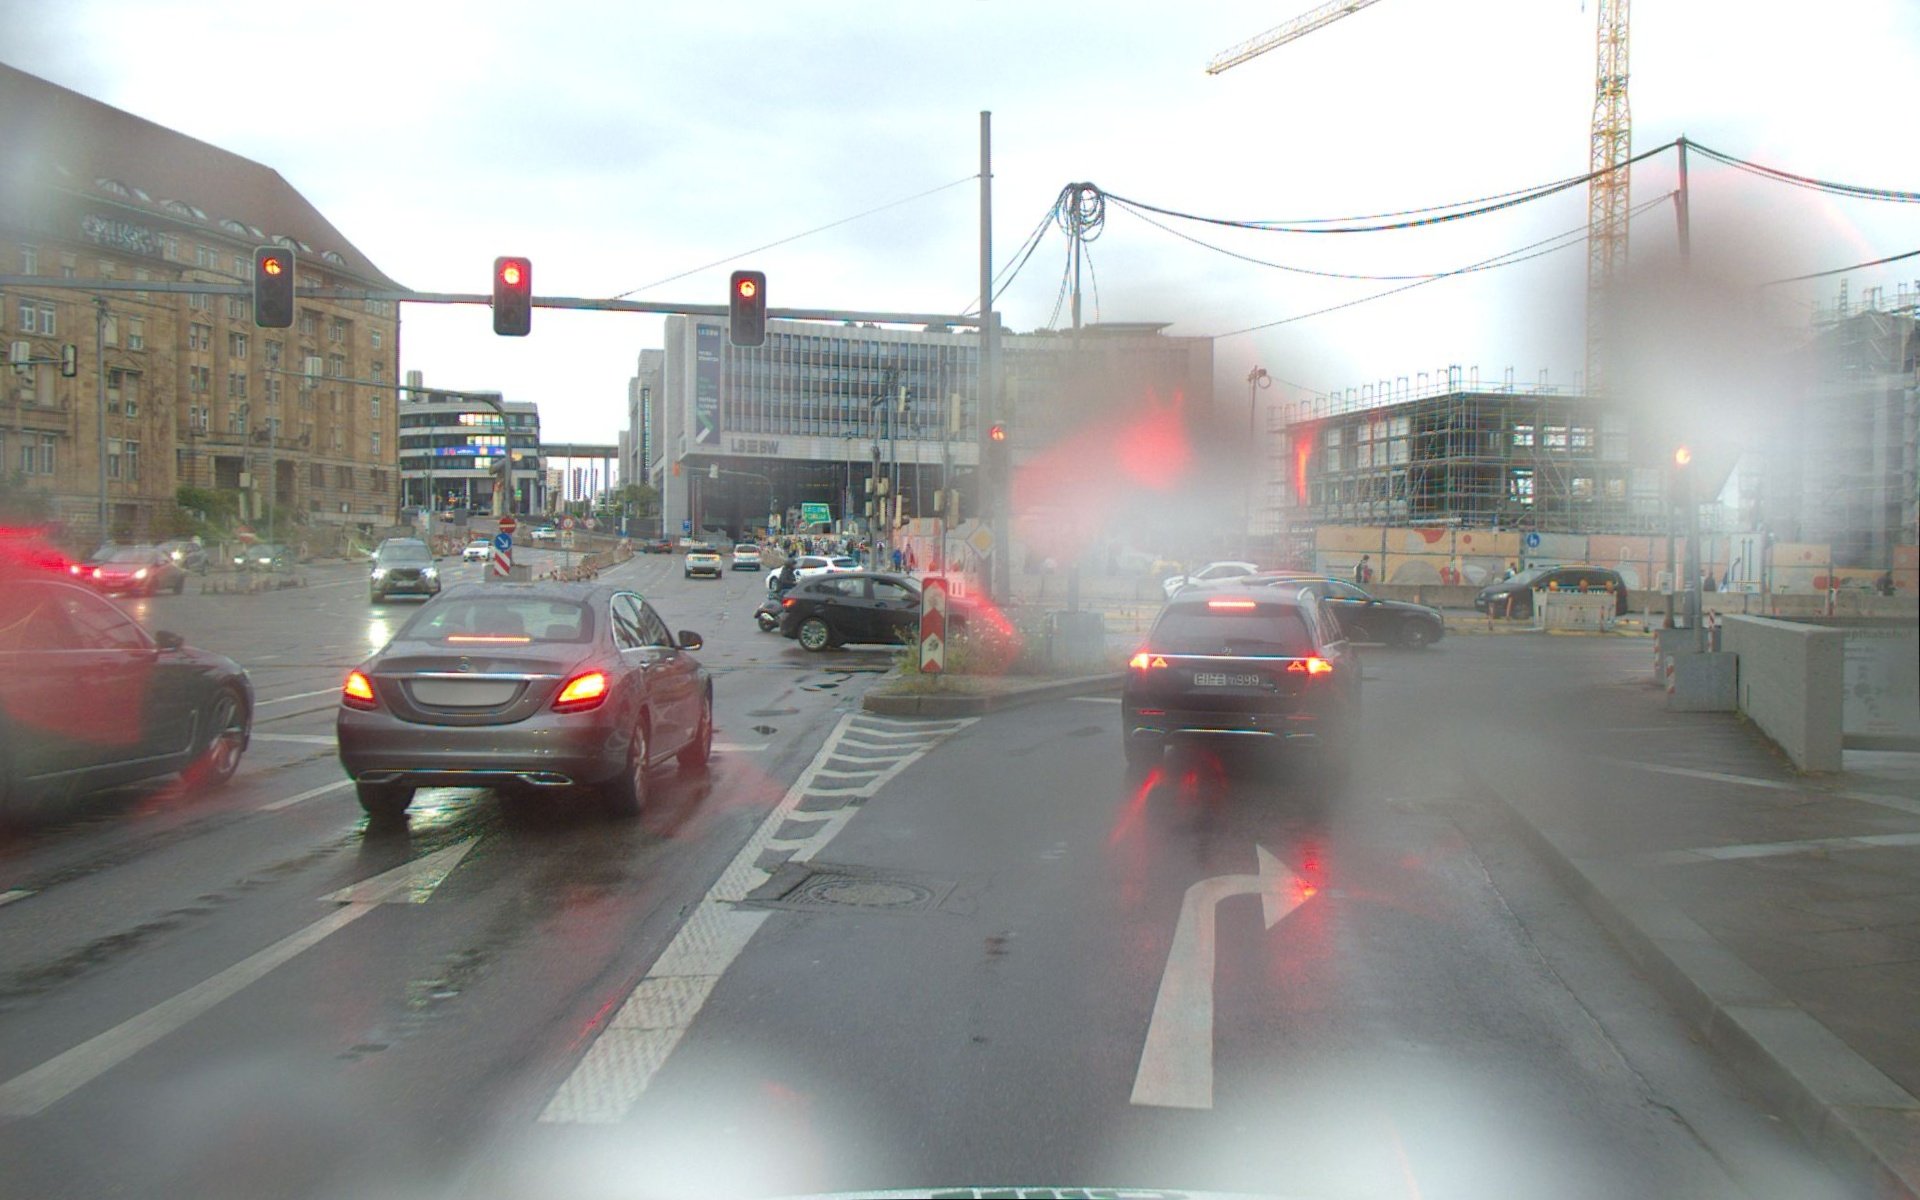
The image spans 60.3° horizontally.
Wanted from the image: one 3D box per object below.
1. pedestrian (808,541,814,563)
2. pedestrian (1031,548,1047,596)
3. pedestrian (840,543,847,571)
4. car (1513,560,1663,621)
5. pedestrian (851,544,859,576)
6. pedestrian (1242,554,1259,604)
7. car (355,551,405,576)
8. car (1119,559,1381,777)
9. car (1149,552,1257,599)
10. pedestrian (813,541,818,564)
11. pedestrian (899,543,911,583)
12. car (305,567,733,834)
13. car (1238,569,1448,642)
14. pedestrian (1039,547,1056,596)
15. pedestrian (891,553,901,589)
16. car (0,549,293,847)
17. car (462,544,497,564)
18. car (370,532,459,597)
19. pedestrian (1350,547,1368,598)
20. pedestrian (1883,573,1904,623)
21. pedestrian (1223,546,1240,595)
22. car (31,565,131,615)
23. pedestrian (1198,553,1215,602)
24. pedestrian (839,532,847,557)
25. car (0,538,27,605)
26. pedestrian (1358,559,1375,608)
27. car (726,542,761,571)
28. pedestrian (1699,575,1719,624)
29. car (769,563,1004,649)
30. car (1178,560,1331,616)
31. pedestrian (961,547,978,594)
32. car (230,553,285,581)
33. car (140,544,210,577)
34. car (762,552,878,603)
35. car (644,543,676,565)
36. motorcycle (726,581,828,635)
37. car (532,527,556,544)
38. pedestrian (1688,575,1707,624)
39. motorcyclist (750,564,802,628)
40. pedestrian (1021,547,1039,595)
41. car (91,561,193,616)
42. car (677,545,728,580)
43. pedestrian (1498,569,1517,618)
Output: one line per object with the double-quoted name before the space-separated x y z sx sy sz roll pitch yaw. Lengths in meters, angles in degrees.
"pedestrian" -12.910 -4.145 143.337 0.355 1.931 0.575 2 -1 -12
"pedestrian" 3.172 -1.117 66.619 0.359 1.931 0.568 0 0 -40
"pedestrian" -8.008 -2.960 113.858 0.355 1.931 0.575 2 -1 -12
"car" 19.654 -0.273 51.813 3.915 1.764 1.995 2 0 -11
"pedestrian" -6.349 -2.415 100.185 0.355 1.931 0.575 2 -1 -12
"pedestrian" 11.324 -0.816 64.418 0.563 1.931 0.362 1 -1 -2
"car" -33.156 -2.078 94.655 1.734 1.282 4.188 2 0 -7
"car" 2.647 0.515 14.315 1.851 1.571 3.996 1 0 15
"car" 8.284 -0.826 56.590 3.473 1.499 1.787 2 0 3
"pedestrian" -12.517 -4.137 143.426 0.355 1.931 0.575 2 -1 -12
"pedestrian" -2.700 -1.799 81.110 0.356 1.931 0.573 2 -1 -20
"car" -2.817 0.528 11.648 1.746 1.427 4.487 2 2 0
"car" 7.941 0.113 34.616 4.012 1.368 2.001 2 0 4
"pedestrian" 3.530 -1.150 66.951 0.359 1.931 0.568 2 -1 -41
"pedestrian" -3.468 -1.555 89.269 0.355 1.931 0.574 2 -1 -16
"car" -5.886 0.489 9.745 1.848 1.541 5.002 2 0 0
"car" -34.264 -3.290 118.063 1.734 1.282 3.994 2 0 -7
"car" -16.729 -1.035 50.913 1.958 1.829 5.088 2 0 -12
"pedestrian" 15.409 -1.053 63.869 0.563 1.931 0.362 1 -1 1
"pedestrian" 36.534 -0.088 64.731 0.563 1.931 0.362 1 -1 -5
"pedestrian" 10.777 -1.170 65.635 0.563 1.931 0.362 1 -1 1
"car" -28.421 -0.334 53.598 1.665 1.545 3.549 -1 0 -7
"pedestrian" 9.804 -0.903 65.783 0.562 1.931 0.362 1 -1 19
"pedestrian" -9.270 -4.392 130.861 0.510 1.931 0.575 2 -1 -12
"car" -23.899 -0.712 39.160 1.768 1.601 4.066 2 0 -9
"pedestrian" 16.228 -0.660 66.051 0.563 1.931 0.362 1 -1 1
"car" -13.758 -2.767 104.886 1.700 1.668 3.421 2 3 -16
"pedestrian" 29.644 -0.018 65.444 0.564 1.931 0.362 2 -1 -7
"car" -1.320 0.114 30.701 4.011 1.533 2.002 0 -1 9
"car" 7.525 -0.296 42.376 3.473 1.327 1.660 2 0 -13
"pedestrian" 0.398 -1.227 68.776 0.359 1.931 0.568 2 -1 -41
"car" -34.831 -1.610 82.103 1.705 1.282 3.323 2 0 -9
"car" -34.078 -1.681 71.888 1.593 1.282 3.992 2 0 -8
"car" -5.289 -0.860 62.280 4.345 1.797 1.986 1 0 45
"car" -30.544 -4.668 168.200 1.972 2.049 3.960 2 0 -30
"motorcycle" -4.081 0.175 37.027 2.090 1.128 0.852 1 0 9
"car" -49.582 -7.634 197.216 1.970 1.847 3.965 2 0 -27
"pedestrian" 29.565 -0.016 66.317 0.564 1.931 0.362 2 -1 -7
"motorcyclist" -4.118 -0.089 37.008 0.925 1.382 0.850 1 -1 9
"pedestrian" 2.812 -1.172 66.402 0.359 1.931 0.568 2 -1 -41
"car" -25.357 -0.344 51.417 1.666 1.601 3.992 2 0 -9
"car" -13.469 -1.948 86.426 1.963 1.668 3.979 2 0 -19
"pedestrian" 21.408 -0.253 64.694 0.563 1.931 0.362 1 -1 -5
